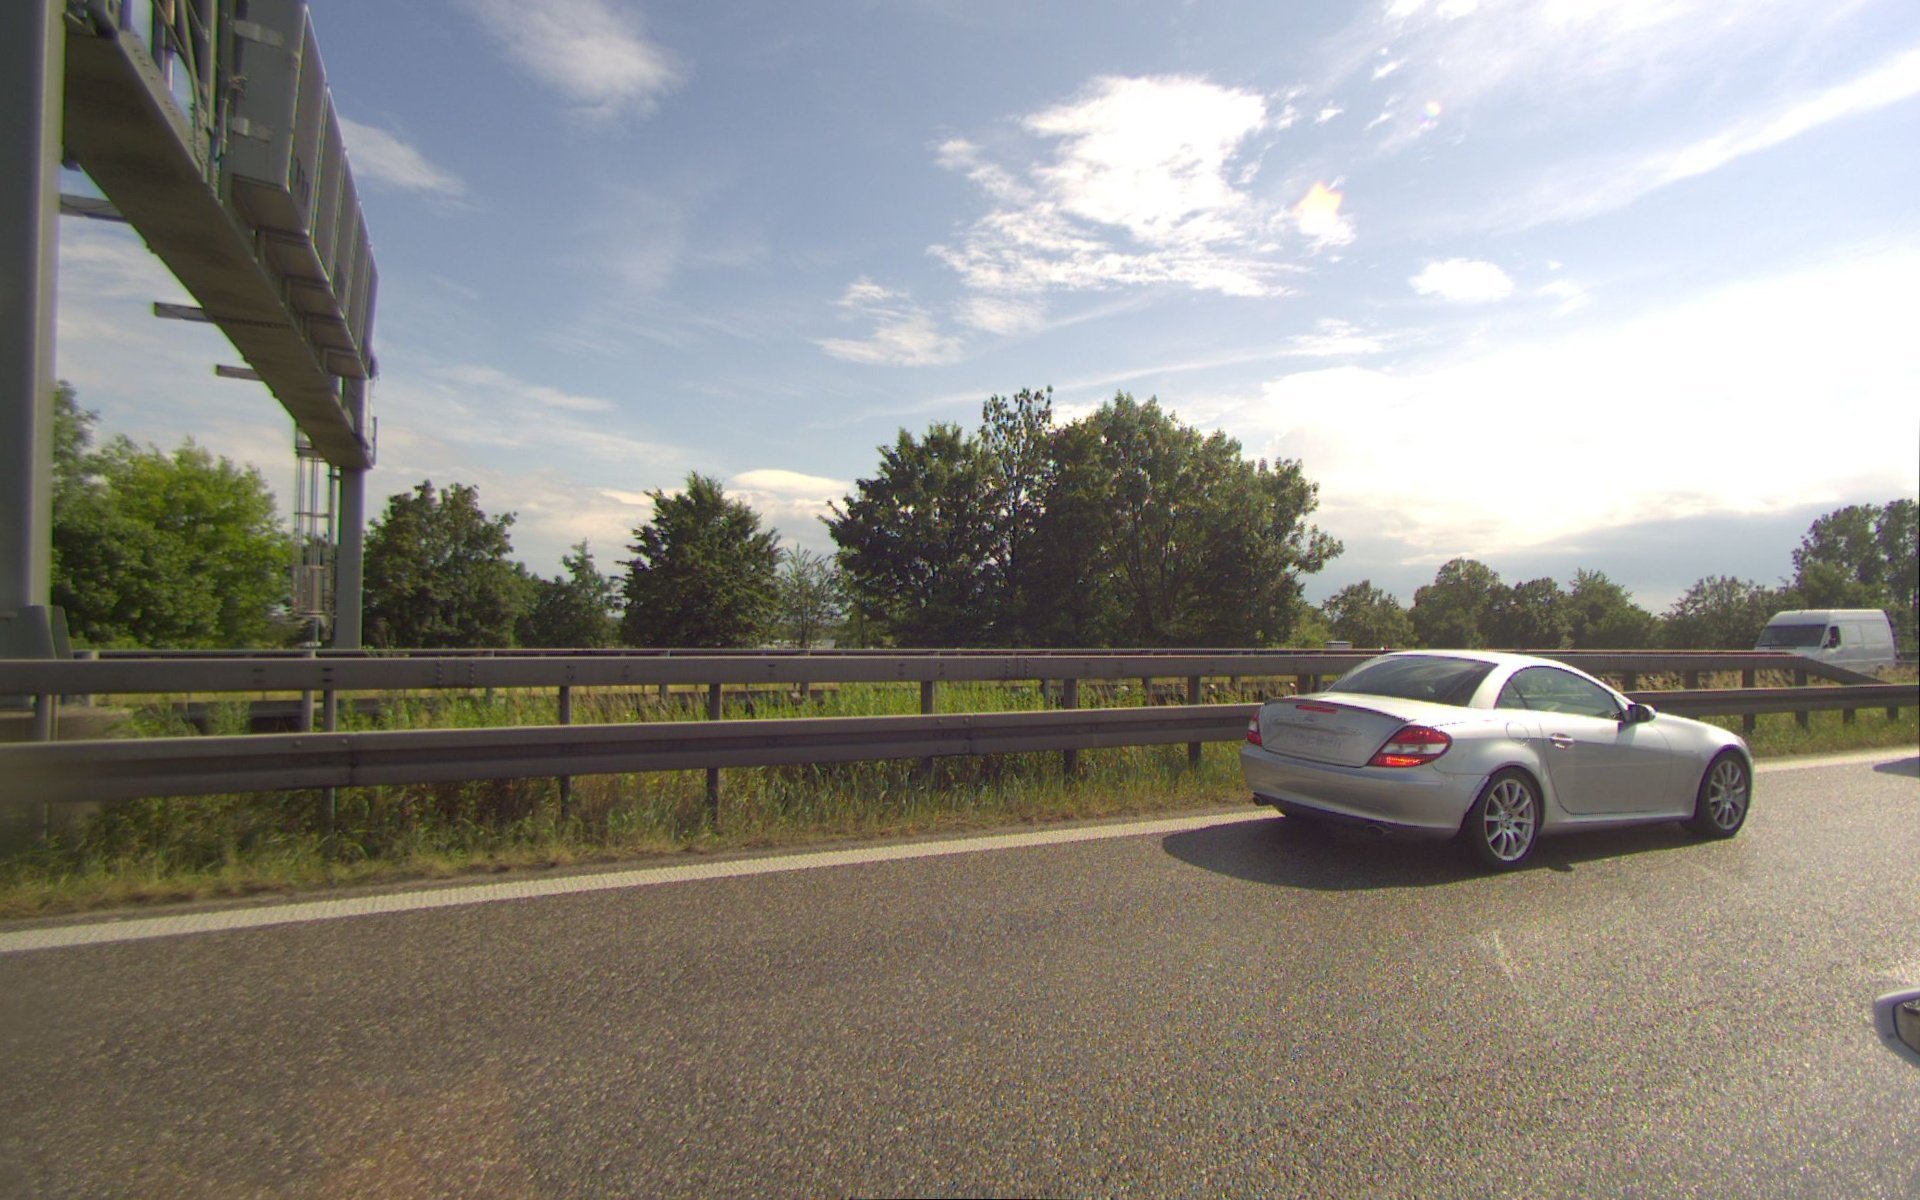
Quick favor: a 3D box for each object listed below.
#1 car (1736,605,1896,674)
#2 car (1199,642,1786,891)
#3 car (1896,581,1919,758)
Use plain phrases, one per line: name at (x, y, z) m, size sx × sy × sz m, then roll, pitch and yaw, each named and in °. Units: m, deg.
car at (27.146, 1.260, 31.835) m, size 5.488 × 2.040 × 1.986 m, roll 2°, pitch -2°, yaw -28°
car at (3.830, 0.980, 7.138) m, size 4.011 × 1.295 × 1.718 m, roll 1°, pitch -1°, yaw -27°
car at (13.724, 0.850, 12.023) m, size 5.200 × 2.040 × 1.987 m, roll 1°, pitch -1°, yaw -26°
